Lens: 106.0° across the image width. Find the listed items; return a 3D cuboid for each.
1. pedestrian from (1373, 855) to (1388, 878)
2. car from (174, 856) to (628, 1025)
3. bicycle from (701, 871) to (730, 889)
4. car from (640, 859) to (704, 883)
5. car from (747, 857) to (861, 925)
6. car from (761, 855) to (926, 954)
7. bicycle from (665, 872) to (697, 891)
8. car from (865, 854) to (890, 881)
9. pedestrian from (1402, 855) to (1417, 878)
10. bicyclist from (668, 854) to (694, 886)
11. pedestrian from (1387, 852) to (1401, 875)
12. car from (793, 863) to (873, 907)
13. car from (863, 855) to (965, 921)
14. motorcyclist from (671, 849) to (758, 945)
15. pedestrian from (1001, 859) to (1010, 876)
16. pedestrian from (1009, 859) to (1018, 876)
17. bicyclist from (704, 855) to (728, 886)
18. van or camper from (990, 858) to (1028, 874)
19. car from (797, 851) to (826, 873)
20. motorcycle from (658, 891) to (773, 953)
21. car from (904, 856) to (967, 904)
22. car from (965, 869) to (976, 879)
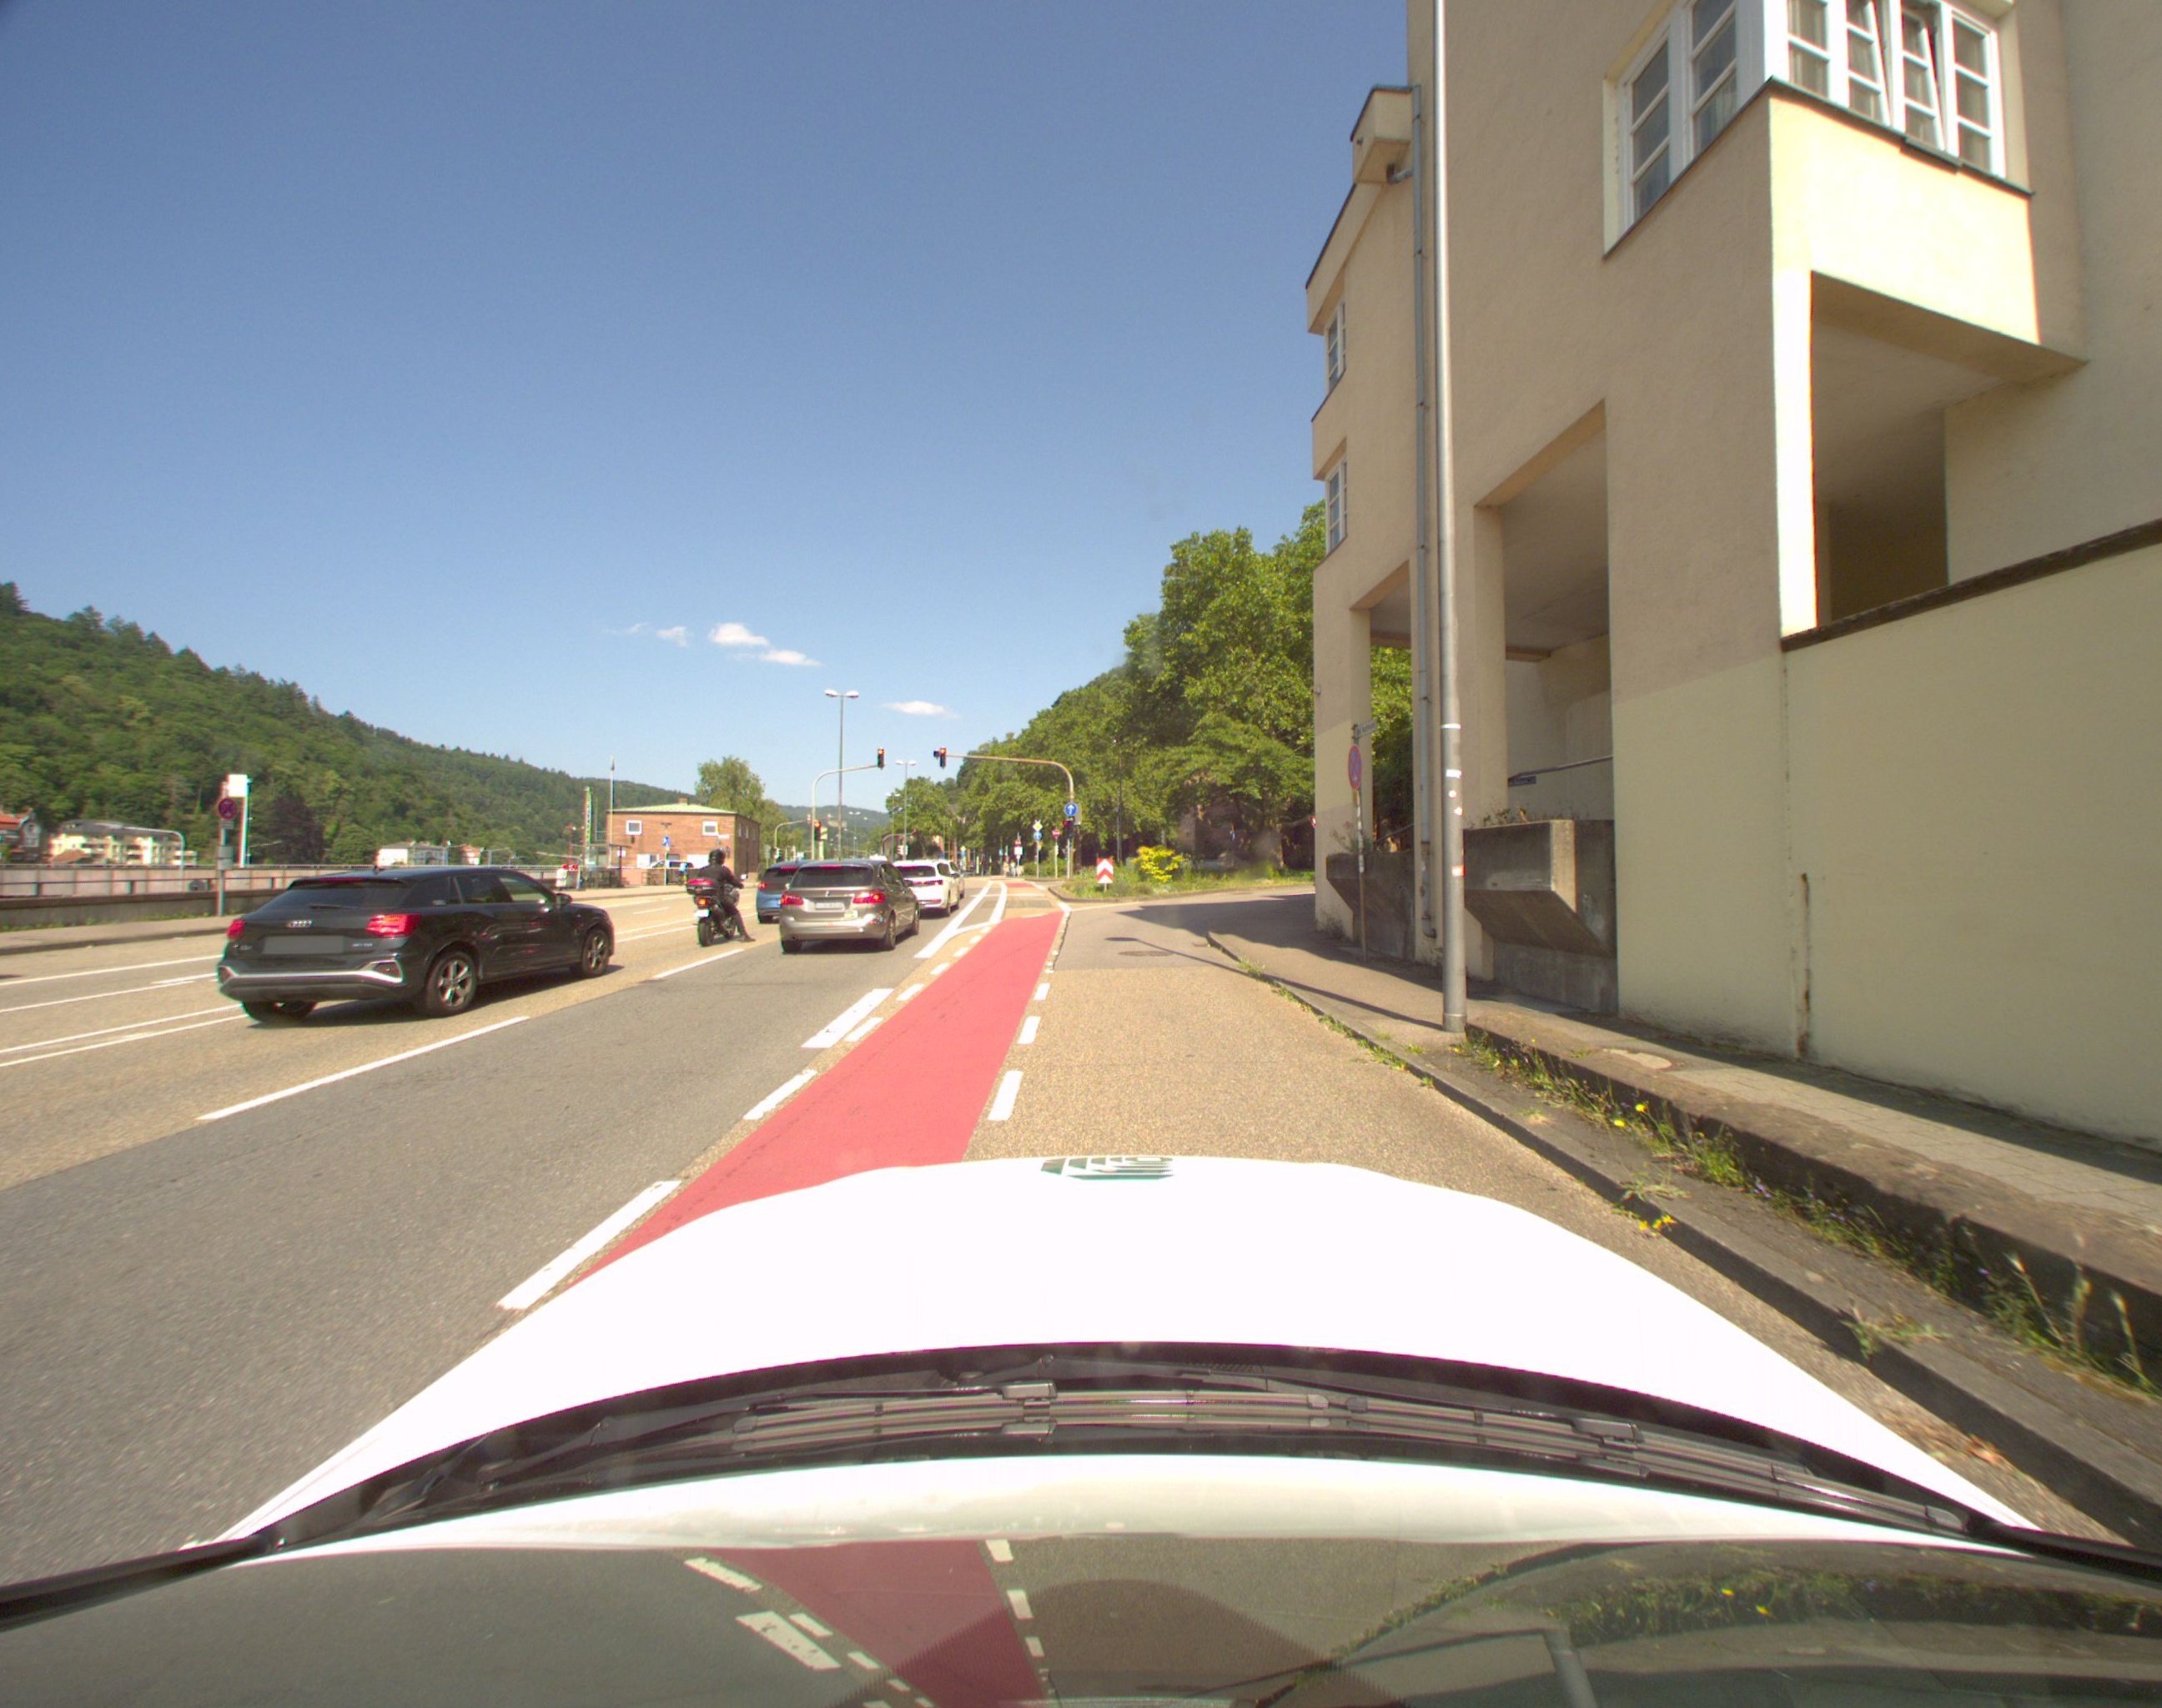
[{"bbox_3d":[23.112,0.992,62.895,0.792,1.756,0.720,1,-1,-10],"label":"pedestrian"},{"bbox_3d":[-7.270,0.798,9.425,1.865,1.514,4.146,1,-1,-3],"label":"car"},{"bbox_3d":[-24.388,1.736,54.412,1.214,1.090,2.586,-1,0,-13],"label":"bicycle"},{"bbox_3d":[-35.722,1.462,71.215,4.645,2.013,1.975,-1,0,-45],"label":"car"},{"bbox_3d":[-7.161,0.885,21.472,1.863,1.562,3.994,-1,0,-4],"label":"car"},{"bbox_3d":[-4.134,0.806,14.928,1.884,1.521,4.302,-1,-1,-2],"label":"car"},{"bbox_3d":[-25.687,1.759,52.337,1.214,1.090,2.586,-1,0,-13],"label":"bicycle"},{"bbox_3d":[-21.093,1.373,84.599,2.387,2.576,6.026,-1,0,-14],"label":"car"},{"bbox_3d":[25.100,0.948,62.272,0.792,1.756,0.663,1,-1,-10],"label":"pedestrian"},{"bbox_3d":[-25.722,0.996,52.378,1.213,2.013,1.114,-1,0,-13],"label":"bicyclist"},{"bbox_3d":[24.688,0.729,64.317,0.792,1.756,0.663,1,-1,-10],"label":"pedestrian"},{"bbox_3d":[-8.751,1.044,29.055,1.863,1.359,3.994,-1,0,-4],"label":"car"},{"bbox_3d":[-4.417,0.828,22.242,1.989,1.533,4.853,-1,0,-3],"label":"car"},{"bbox_3d":[-6.731,0.757,15.037,1.073,1.684,1.155,-1,0,-3],"label":"motorcyclist"},{"bbox_3d":[-7.799,1.363,83.878,0.758,1.719,0.796,-2,0,3],"label":"pedestrian"},{"bbox_3d":[-6.970,1.345,83.700,0.758,1.708,0.878,-2,0,3],"label":"pedestrian"},{"bbox_3d":[-24.400,1.098,54.435,1.213,2.013,1.114,-1,0,-13],"label":"bicyclist"},{"bbox_3d":[-9.313,1.522,105.627,4.510,1.902,2.008,-2,0,14],"label":"van or camper"},{"bbox_3d":[-27.165,0.775,82.254,2.216,2.078,5.022,-1,0,-13],"label":"car"},{"bbox_3d":[-6.728,1.212,15.189,1.035,0.919,2.603,-1,0,-2],"label":"motorcycle"},{"bbox_3d":[-5.130,0.895,29.235,1.783,1.532,4.727,-1,0,-6],"label":"car"},{"bbox_3d":[-19.361,3.502,142.561,1.730,1.514,3.612,-1,0,-8],"label":"car"}]
